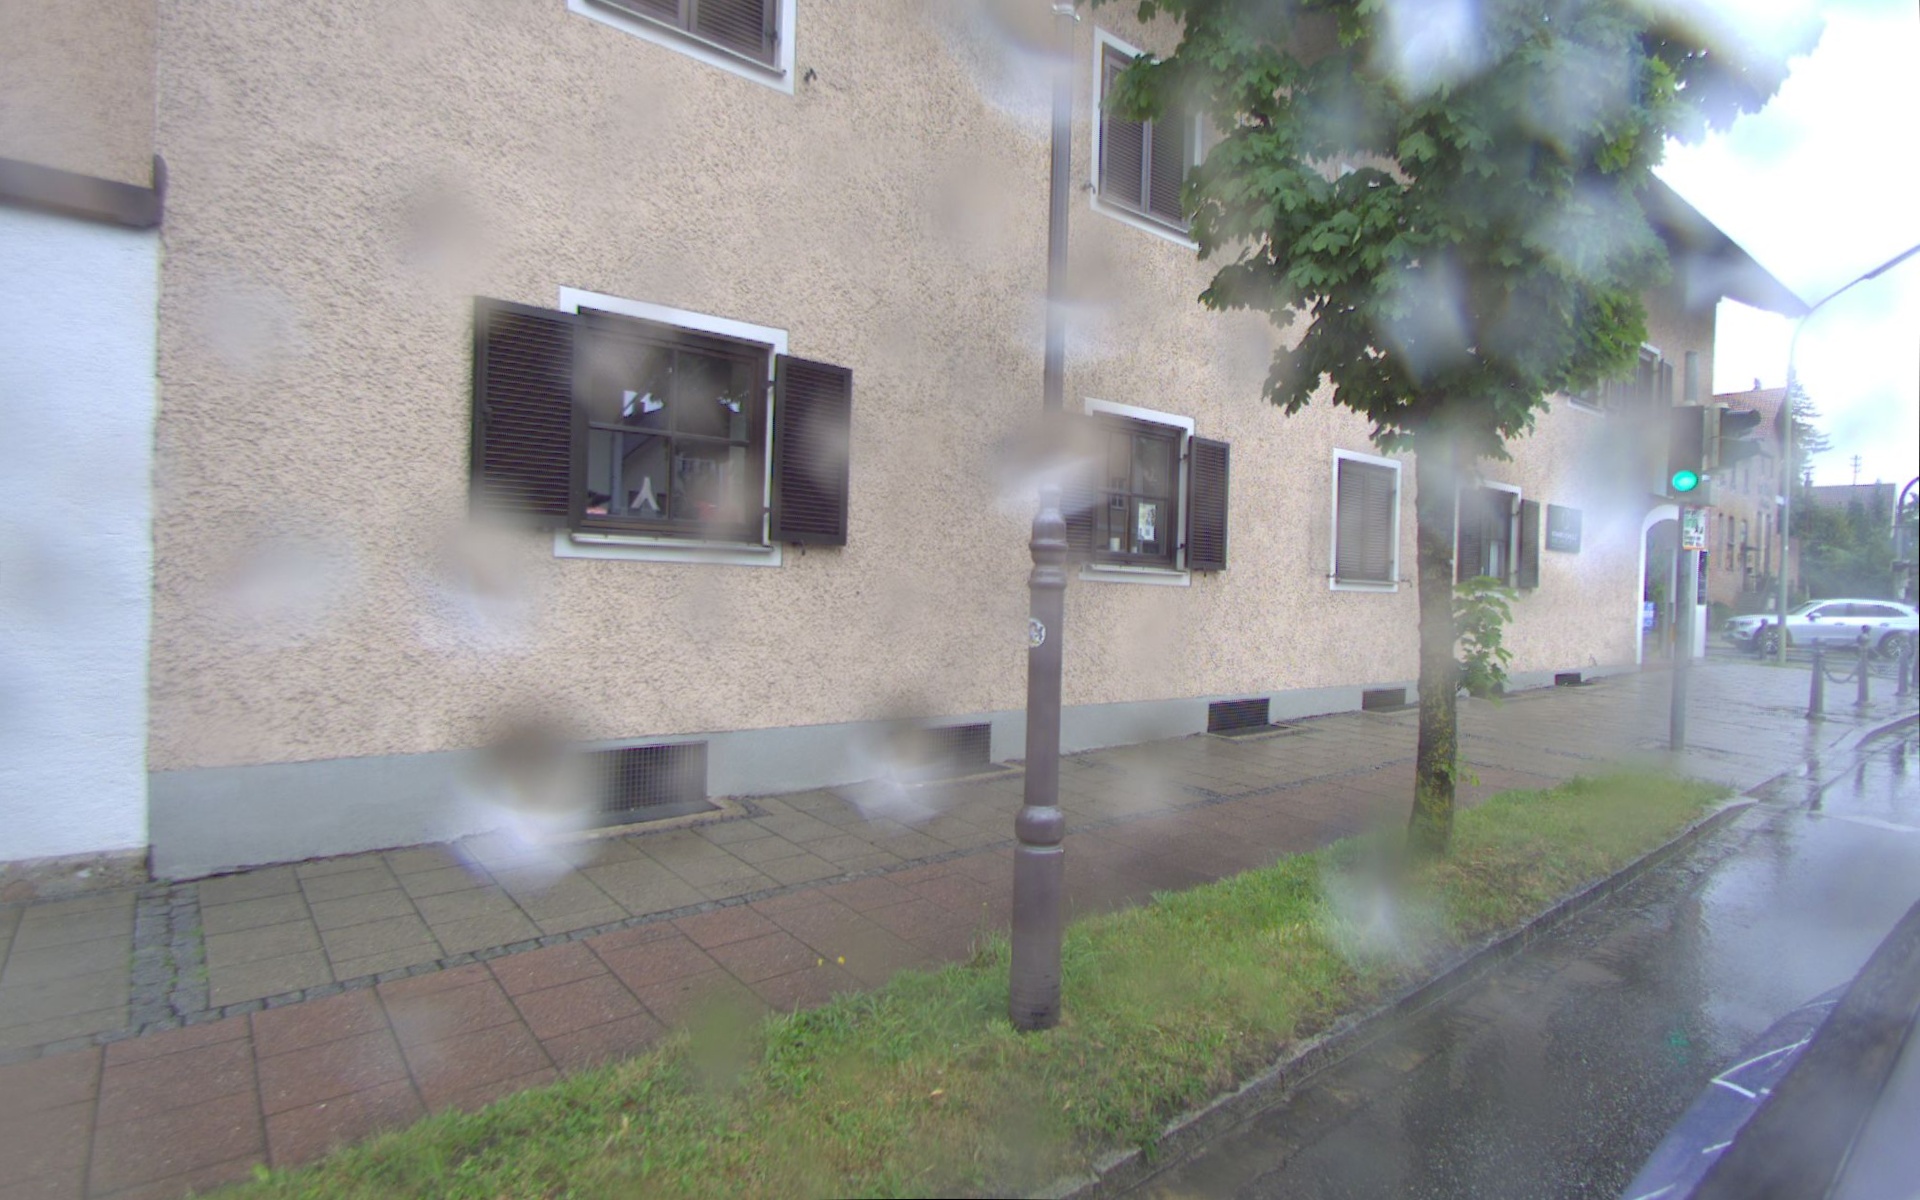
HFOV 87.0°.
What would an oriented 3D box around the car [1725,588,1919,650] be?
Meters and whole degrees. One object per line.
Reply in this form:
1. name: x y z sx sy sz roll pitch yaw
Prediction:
1. car: 24.550 0.508 28.383 4.557 1.517 1.724 2 2 22
